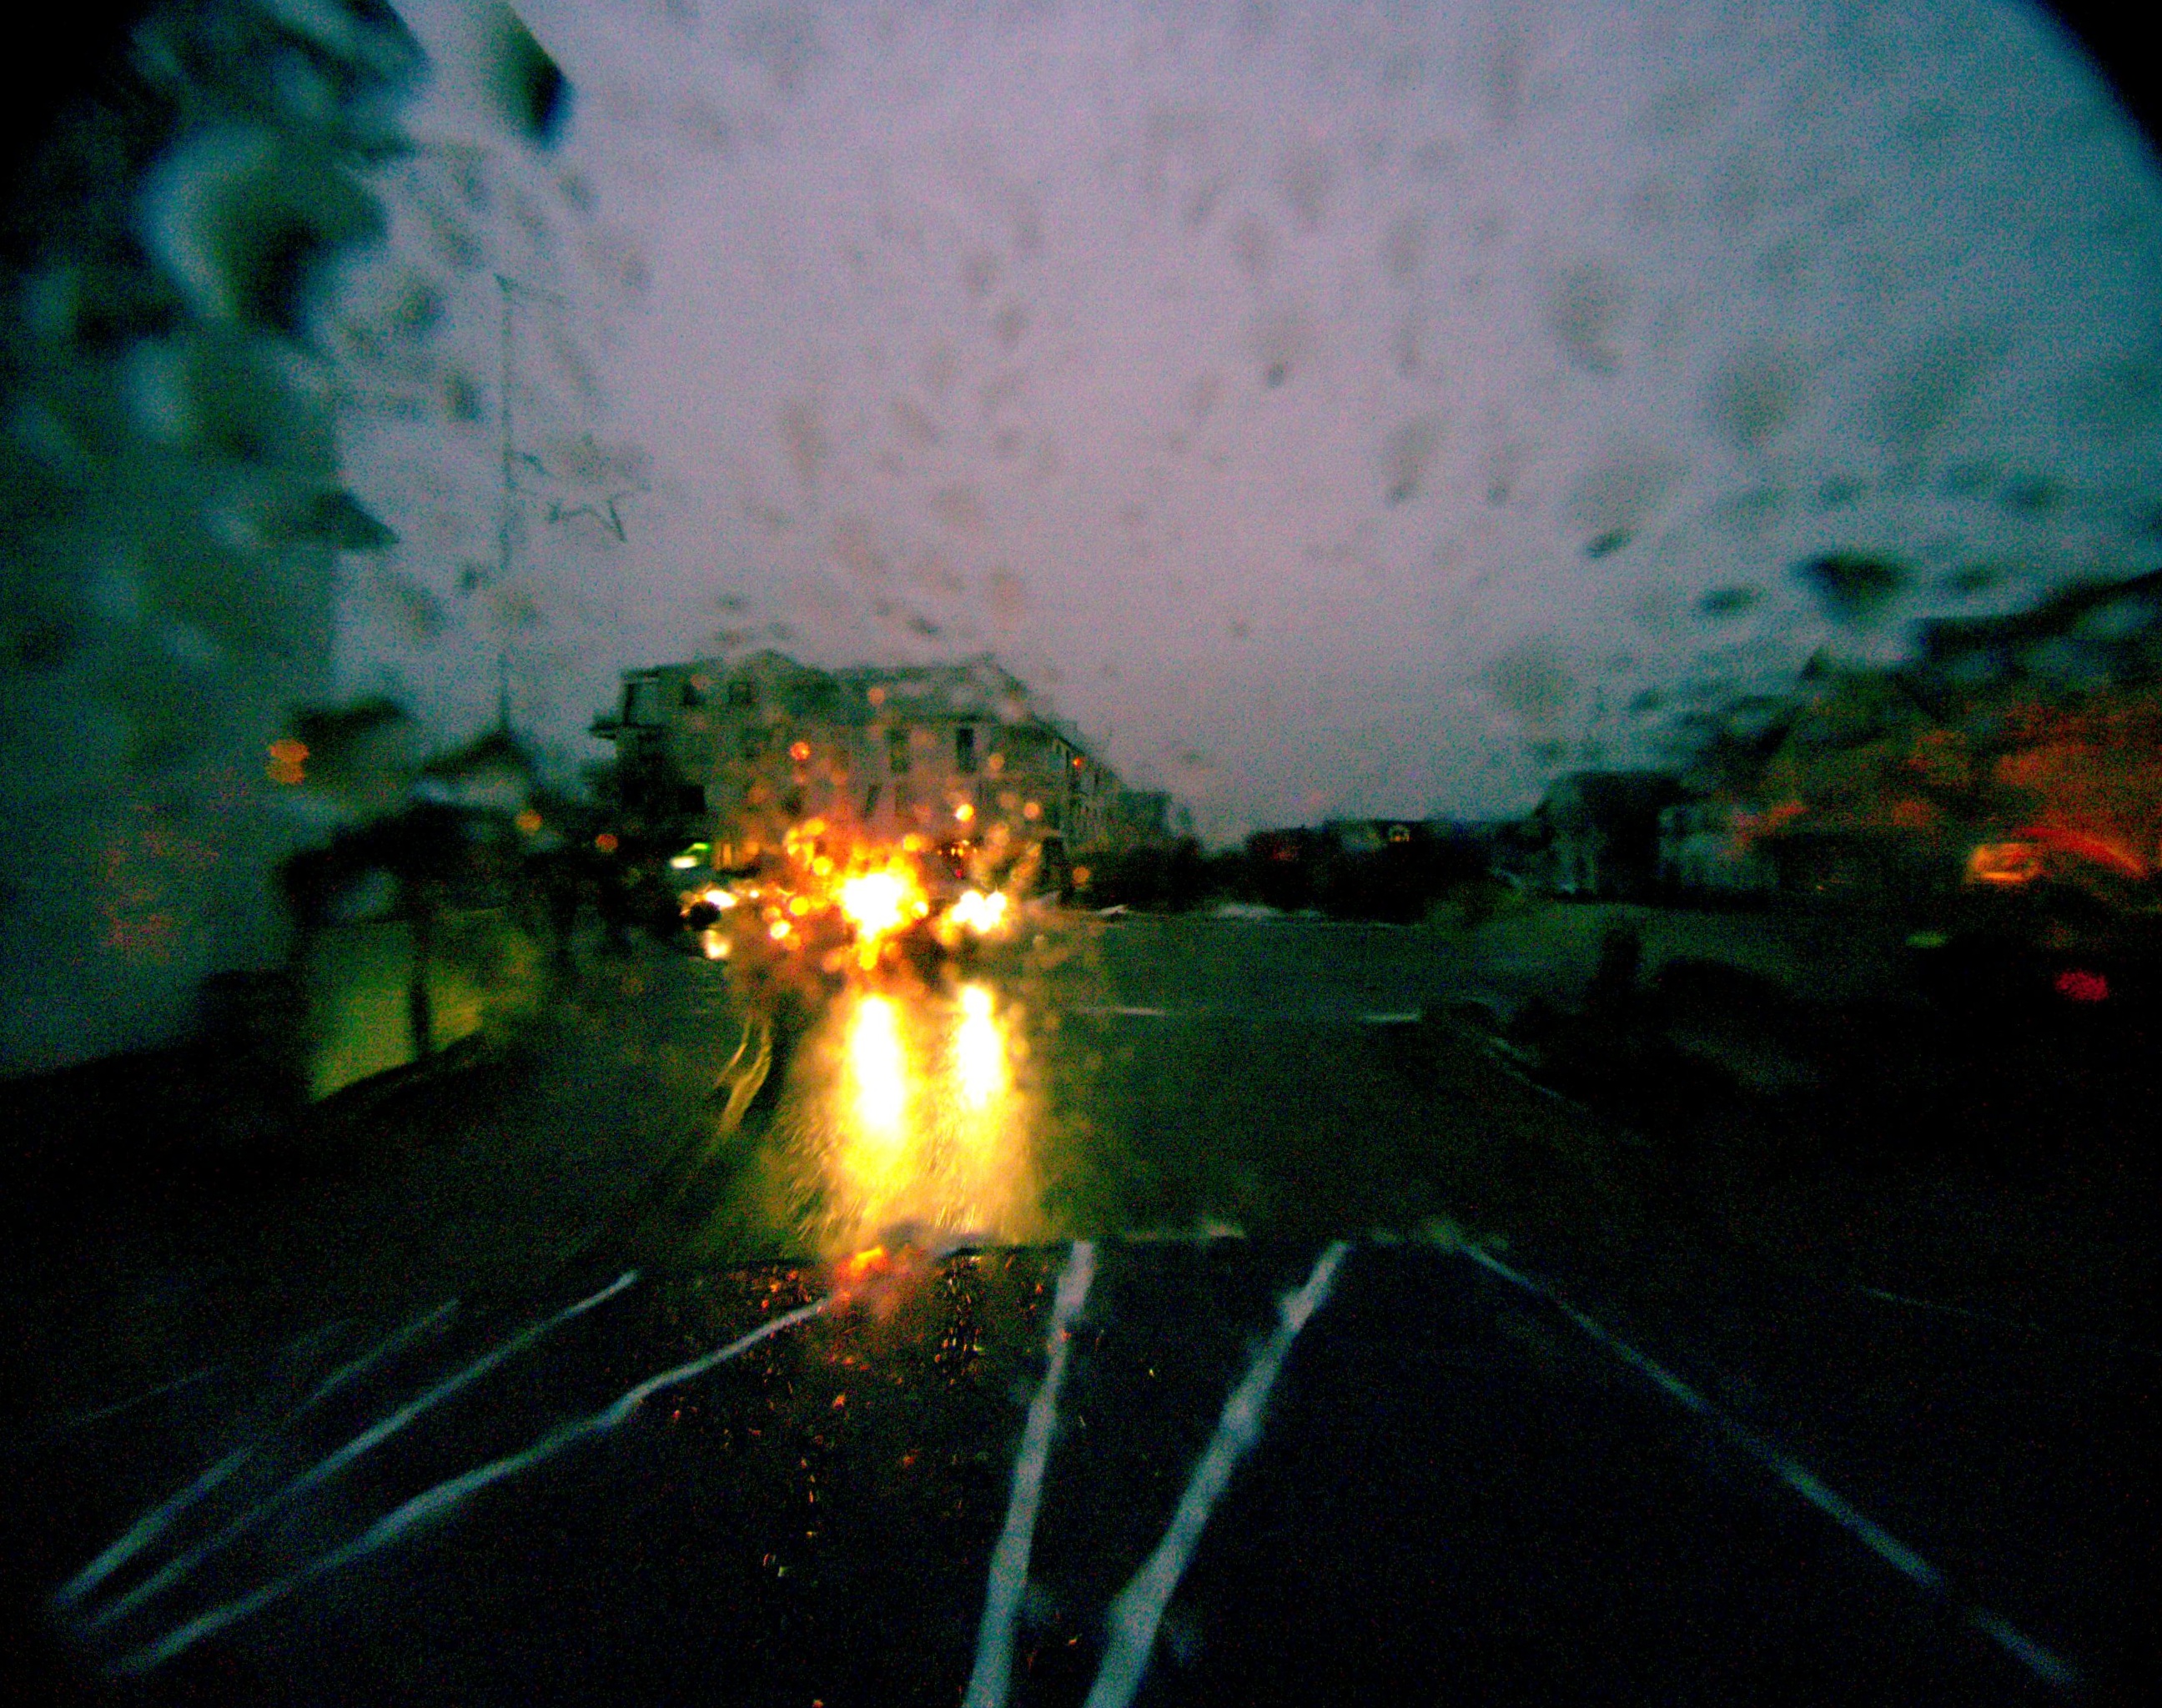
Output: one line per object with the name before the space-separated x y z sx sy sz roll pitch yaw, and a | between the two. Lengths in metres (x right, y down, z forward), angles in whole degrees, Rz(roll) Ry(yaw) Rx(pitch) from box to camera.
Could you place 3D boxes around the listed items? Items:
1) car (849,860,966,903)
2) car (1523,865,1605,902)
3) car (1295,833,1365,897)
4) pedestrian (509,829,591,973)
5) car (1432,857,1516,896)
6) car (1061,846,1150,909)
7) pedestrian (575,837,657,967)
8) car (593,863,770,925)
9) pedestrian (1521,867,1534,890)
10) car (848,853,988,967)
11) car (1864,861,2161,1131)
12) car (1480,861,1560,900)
car | -6.739 1.039 29.614 4.277 1.436 1.559 -2 2 -14
car | 28.267 1.701 44.641 1.936 1.871 3.867 -2 2 -12
car | 8.546 0.304 25.986 2.055 1.976 4.542 -1 2 19
pedestrian | -7.210 0.600 10.315 0.711 1.856 0.789 -3 3 -45
car | 22.825 1.257 44.265 1.974 1.984 3.991 -2 2 -24
car | 0.674 0.573 20.950 2.171 1.469 3.999 -1 1 2
pedestrian | -6.626 0.641 10.828 0.770 1.752 0.789 -3 3 -45
car | -10.468 1.019 19.949 4.011 1.471 1.766 -1 1 18
pedestrian | 31.059 1.690 52.854 0.581 1.602 0.500 -1 2 7
car | -2.922 0.798 12.899 1.960 1.576 4.104 -1 0 -17
car | 6.971 0.808 4.280 1.704 1.494 3.902 -1 0 13
car | 25.584 1.498 44.431 1.926 2.002 3.967 -2 2 -12
